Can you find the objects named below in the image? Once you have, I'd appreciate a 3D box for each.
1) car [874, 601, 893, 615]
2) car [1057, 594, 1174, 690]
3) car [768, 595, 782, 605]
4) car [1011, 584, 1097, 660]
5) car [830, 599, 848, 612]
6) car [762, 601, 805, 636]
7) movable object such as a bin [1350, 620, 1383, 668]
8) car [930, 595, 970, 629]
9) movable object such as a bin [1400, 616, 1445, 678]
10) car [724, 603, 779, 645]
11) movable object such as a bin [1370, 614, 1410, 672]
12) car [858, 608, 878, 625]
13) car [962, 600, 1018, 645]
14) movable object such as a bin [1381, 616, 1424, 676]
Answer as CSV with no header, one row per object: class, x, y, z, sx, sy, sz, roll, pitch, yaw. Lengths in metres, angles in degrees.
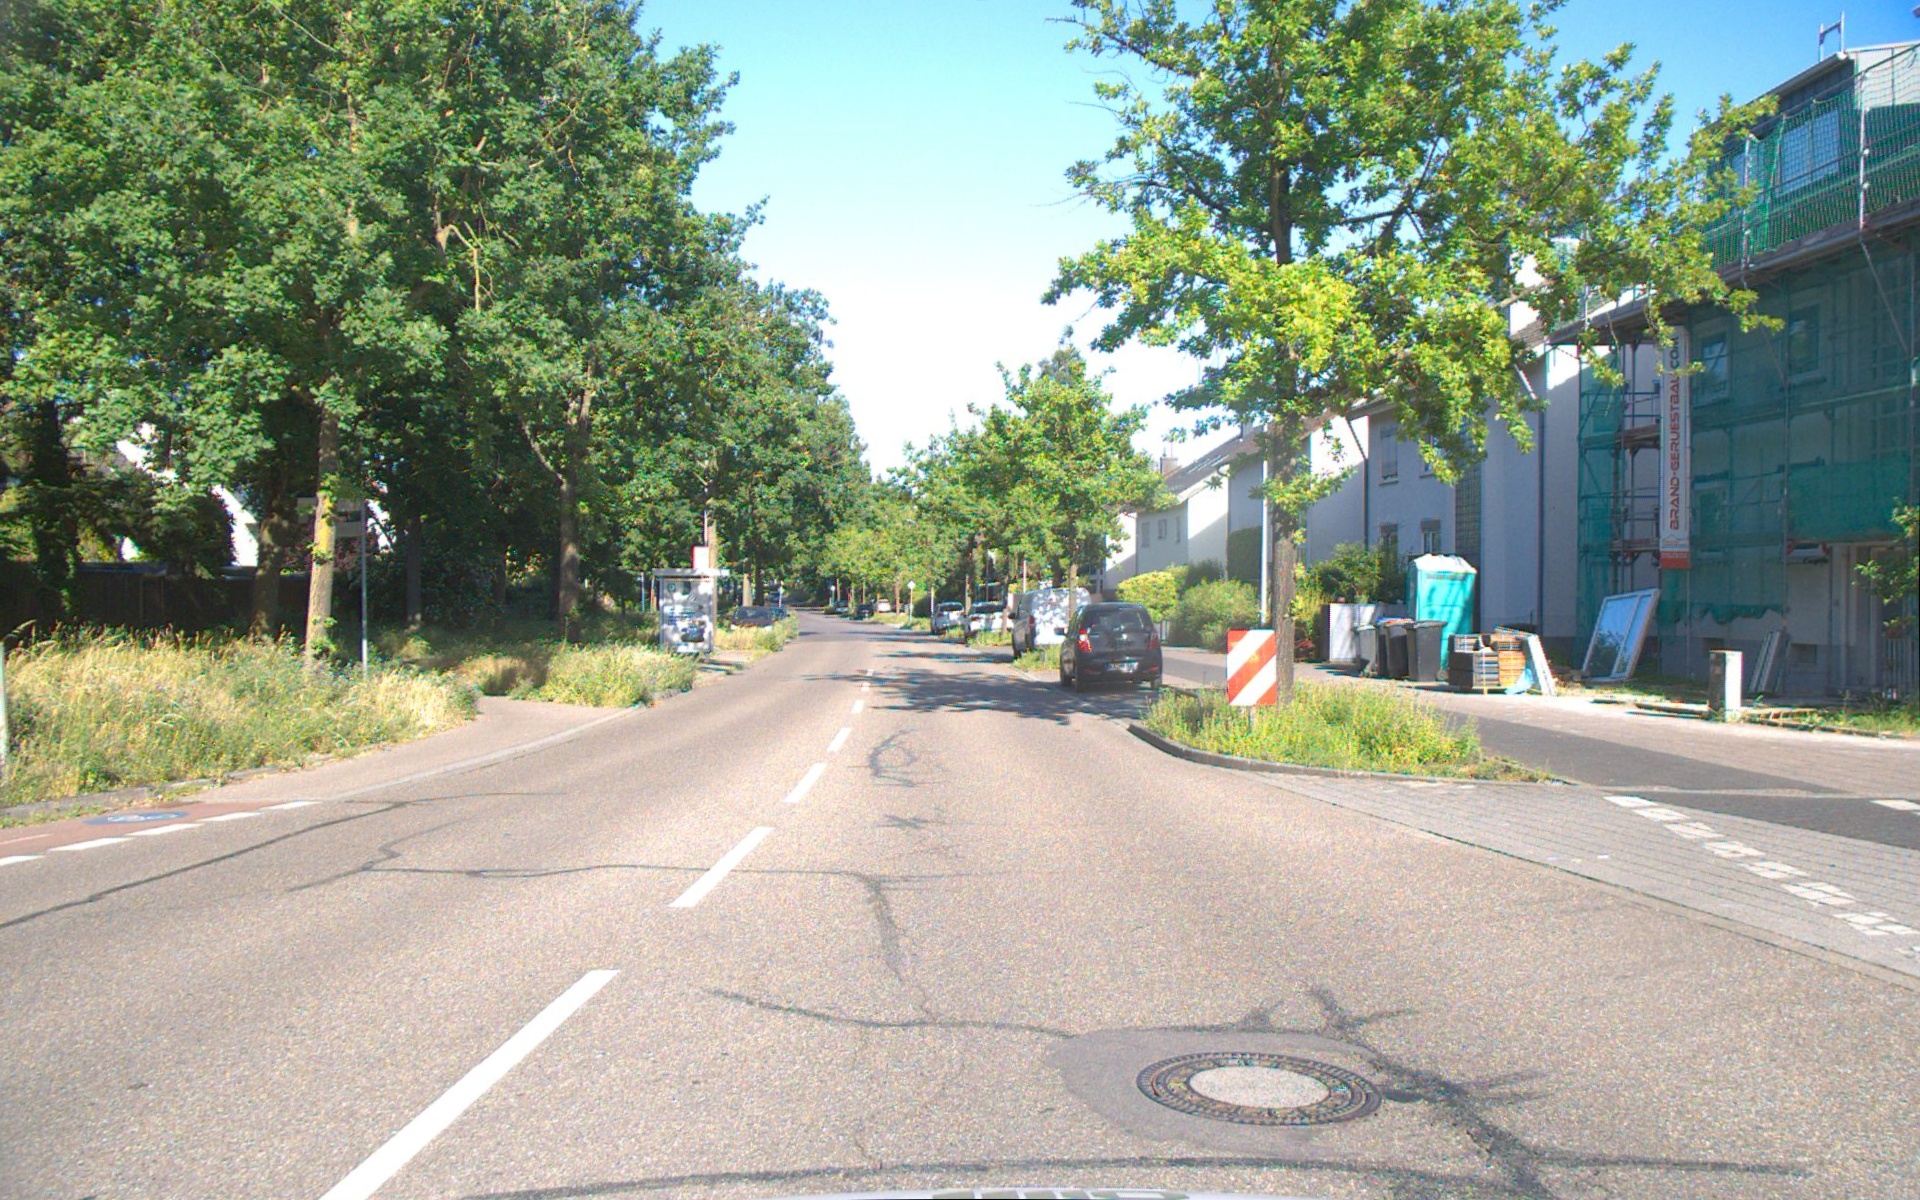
car,-8.506,0.864,183.307,1.896,1.479,3.995,0,0,-5
car,2.812,0.735,30.657,1.639,1.606,3.750,-2,0,-2
car,-26.953,-0.042,241.331,1.896,1.479,3.995,0,0,-5
car,2.545,0.589,45.864,1.799,2.005,4.754,0,0,-4
car,-13.576,0.598,185.340,1.896,1.479,3.995,0,0,-5
car,-8.337,0.867,77.997,1.955,1.584,3.994,1,0,-6
movable object such as a bin,8.155,0.871,33.206,0.519,0.948,0.549,0,-1,-3
car,-0.565,0.625,88.629,1.895,1.773,3.996,0,0,-4
movable object such as a bin,8.229,0.829,29.430,0.591,1.088,0.646,0,-1,-3
car,-7.619,0.867,60.783,1.898,1.505,3.995,0,0,-6
movable object such as a bin,8.109,0.805,31.187,0.591,1.088,0.567,0,-1,-3
car,-8.758,1.543,157.211,1.895,1.569,3.996,0,0,-4
car,1.165,0.877,66.039,1.898,1.734,3.996,0,0,-4
movable object such as a bin,8.121,0.848,30.389,0.591,1.088,0.646,0,-1,-3
